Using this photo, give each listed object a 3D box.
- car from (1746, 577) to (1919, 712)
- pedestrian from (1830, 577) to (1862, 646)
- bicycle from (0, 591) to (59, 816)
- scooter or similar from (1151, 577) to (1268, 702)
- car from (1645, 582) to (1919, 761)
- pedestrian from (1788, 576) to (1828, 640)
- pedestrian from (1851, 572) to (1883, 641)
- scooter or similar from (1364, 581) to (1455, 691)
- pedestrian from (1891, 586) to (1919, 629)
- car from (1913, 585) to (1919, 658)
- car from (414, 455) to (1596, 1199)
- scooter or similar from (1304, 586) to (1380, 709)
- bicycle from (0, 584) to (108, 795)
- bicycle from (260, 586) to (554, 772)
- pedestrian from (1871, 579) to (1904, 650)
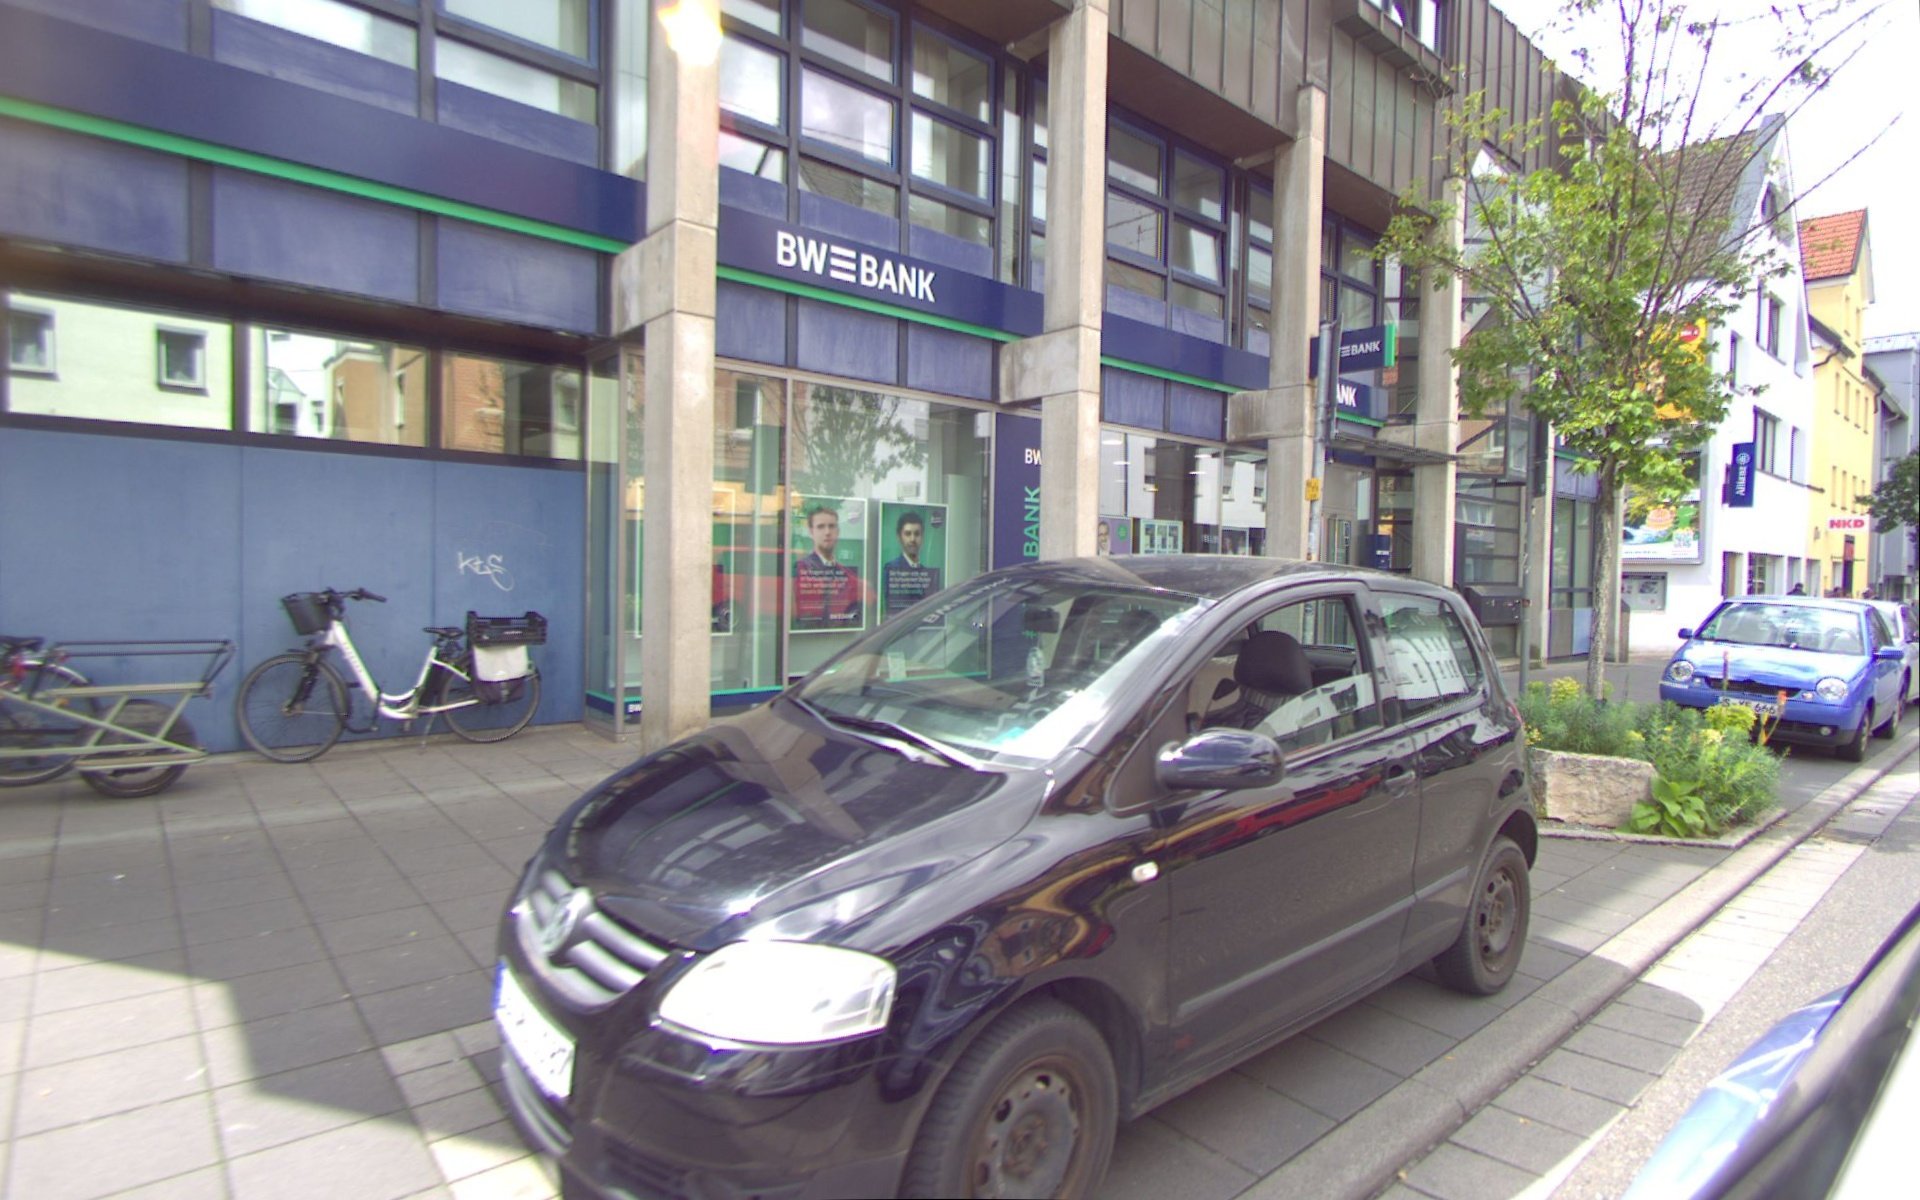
[{"bbox_3d":[12.532,0.556,14.015,4.349,1.597,1.724,1,-1,-40],"label":"car"},{"bbox_3d":[24.398,0.299,27.875,0.566,1.863,0.589,-1,0,-40],"label":"pedestrian"},{"bbox_3d":[-5.297,0.508,4.816,1.475,1.094,0.426,1,2,-39],"label":"bicycle"},{"bbox_3d":[2.706,0.386,10.889,1.534,1.261,0.422,-1,1,-42],"label":"scooter or similar"},{"bbox_3d":[8.840,0.580,10.604,4.036,1.512,1.725,-1,1,-40],"label":"car"},{"bbox_3d":[23.775,0.223,28.374,0.744,1.759,0.742,-1,1,-40],"label":"pedestrian"},{"bbox_3d":[25.199,0.172,28.109,0.566,1.863,0.589,-1,0,-40],"label":"pedestrian"},{"bbox_3d":[5.492,0.406,12.333,1.534,1.261,0.422,-1,1,-42],"label":"scooter or similar"},{"bbox_3d":[35.192,0.270,37.616,0.713,1.572,0.751,-1,2,-41],"label":"pedestrian"},{"bbox_3d":[23.170,0.466,23.231,4.041,1.596,1.722,-1,1,-44],"label":"car"},{"bbox_3d":[0.467,0.520,3.315,3.727,1.551,1.613,0,3,-40],"label":"car"},{"bbox_3d":[4.199,0.484,11.089,0.404,1.261,1.306,0,1,38],"label":"scooter or similar"},{"bbox_3d":[-5.550,0.485,5.428,1.475,1.133,0.426,-1,1,-39],"label":"bicycle"},{"bbox_3d":[-3.714,0.473,6.898,1.709,1.133,0.426,-1,1,-39],"label":"bicycle"},{"bbox_3d":[24.981,0.378,27.246,0.566,1.863,0.589,-1,0,-40],"label":"pedestrian"}]
